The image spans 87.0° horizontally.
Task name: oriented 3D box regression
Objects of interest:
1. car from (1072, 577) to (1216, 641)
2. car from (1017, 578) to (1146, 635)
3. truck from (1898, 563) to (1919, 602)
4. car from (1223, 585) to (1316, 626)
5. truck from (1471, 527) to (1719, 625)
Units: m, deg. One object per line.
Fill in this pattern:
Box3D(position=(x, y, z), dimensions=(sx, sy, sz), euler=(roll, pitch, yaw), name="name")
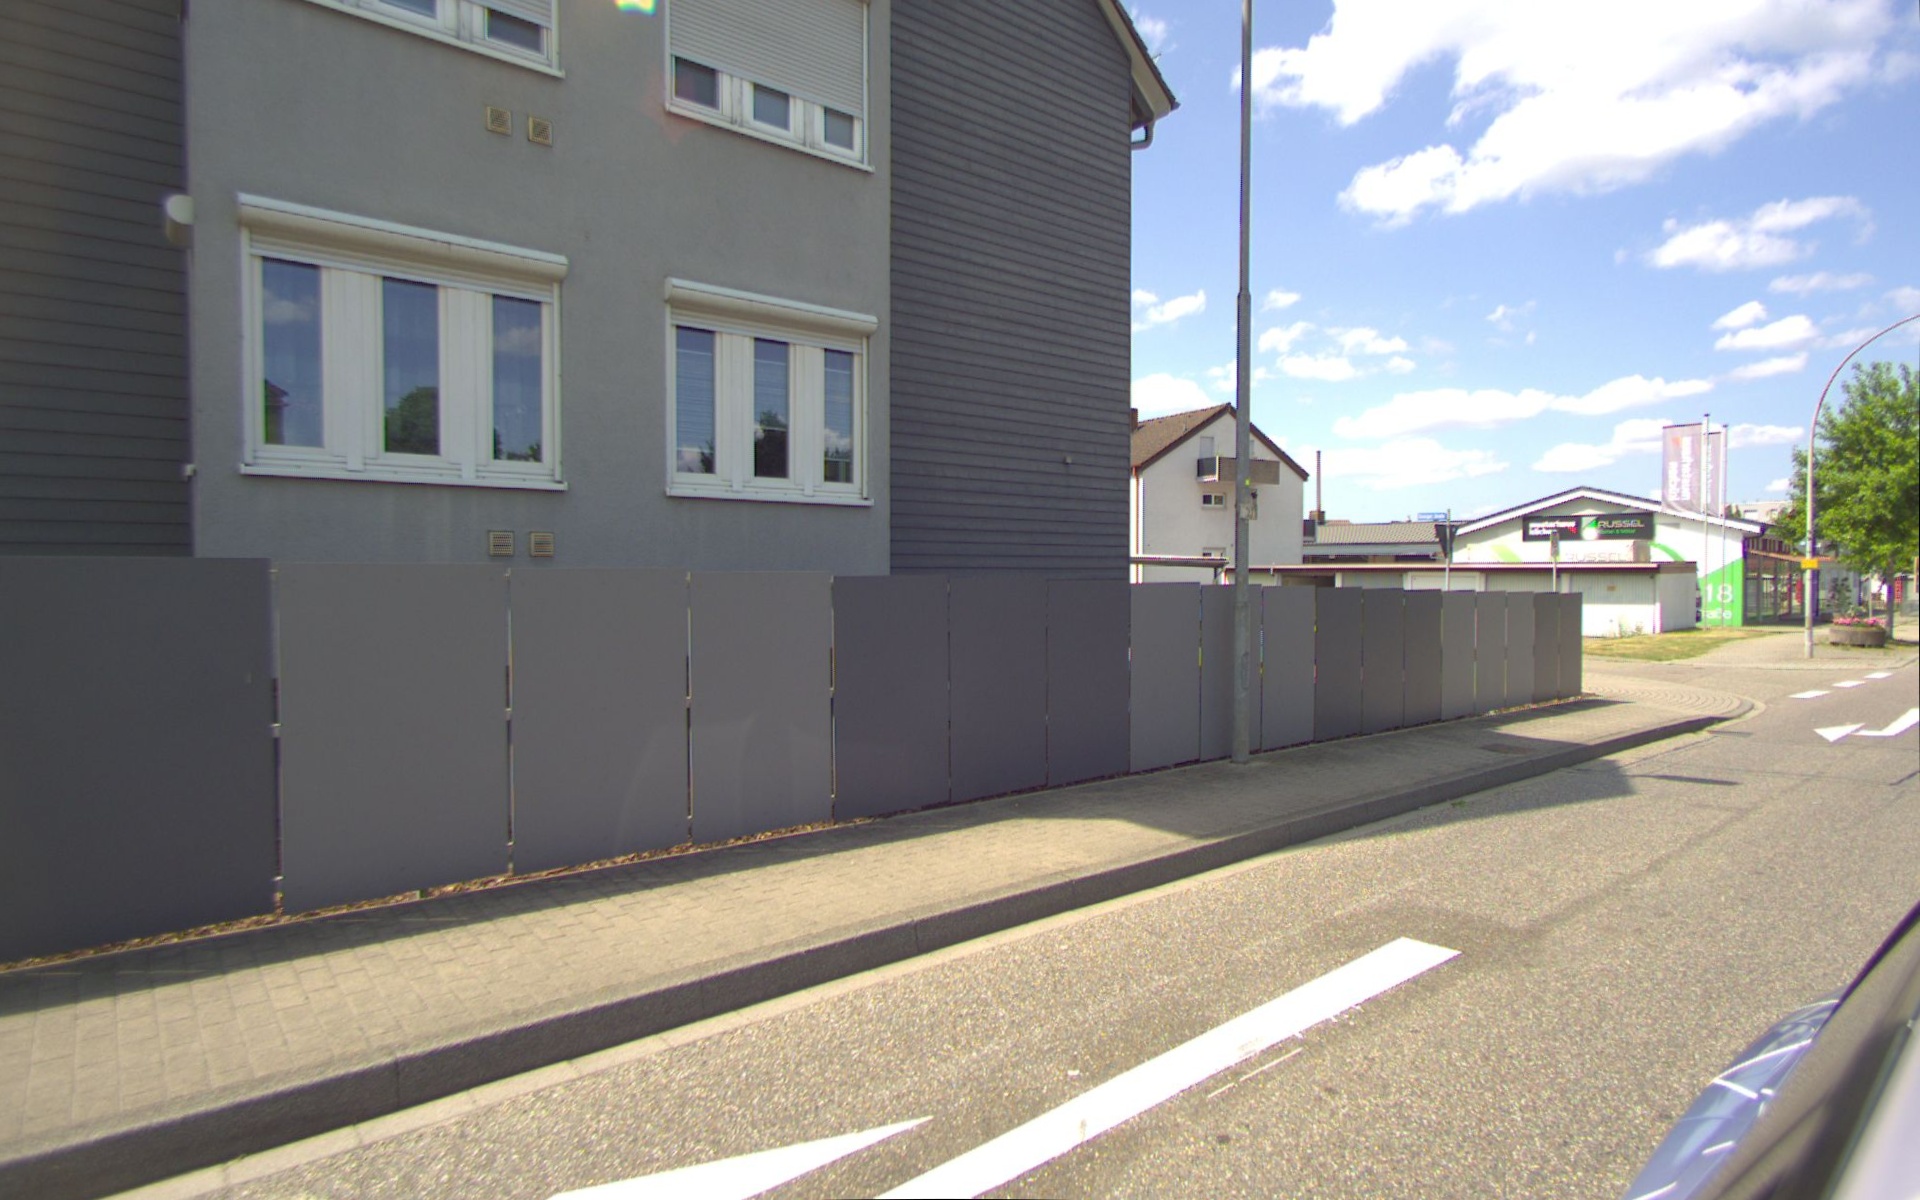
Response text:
Box3D(position=(5.279, 0.267, 28.787), dimensions=(4.139, 1.669, 1.741), euler=(2, 0, -40), name="car")
Box3D(position=(3.734, 0.210, 30.730), dimensions=(3.784, 1.607, 1.741), euler=(2, 0, -40), name="car")
Box3D(position=(72.557, -1.319, 76.194), dimensions=(2.571, 2.795, 6.240), euler=(3, 3, 41), name="truck")
Box3D(position=(12.269, 0.181, 40.020), dimensions=(4.060, 1.522, 1.678), euler=(-1, 1, -41), name="car")
Box3D(position=(25.587, -0.961, 41.196), dimensions=(2.633, 3.617, 8.180), euler=(-2, 2, -42), name="truck")
